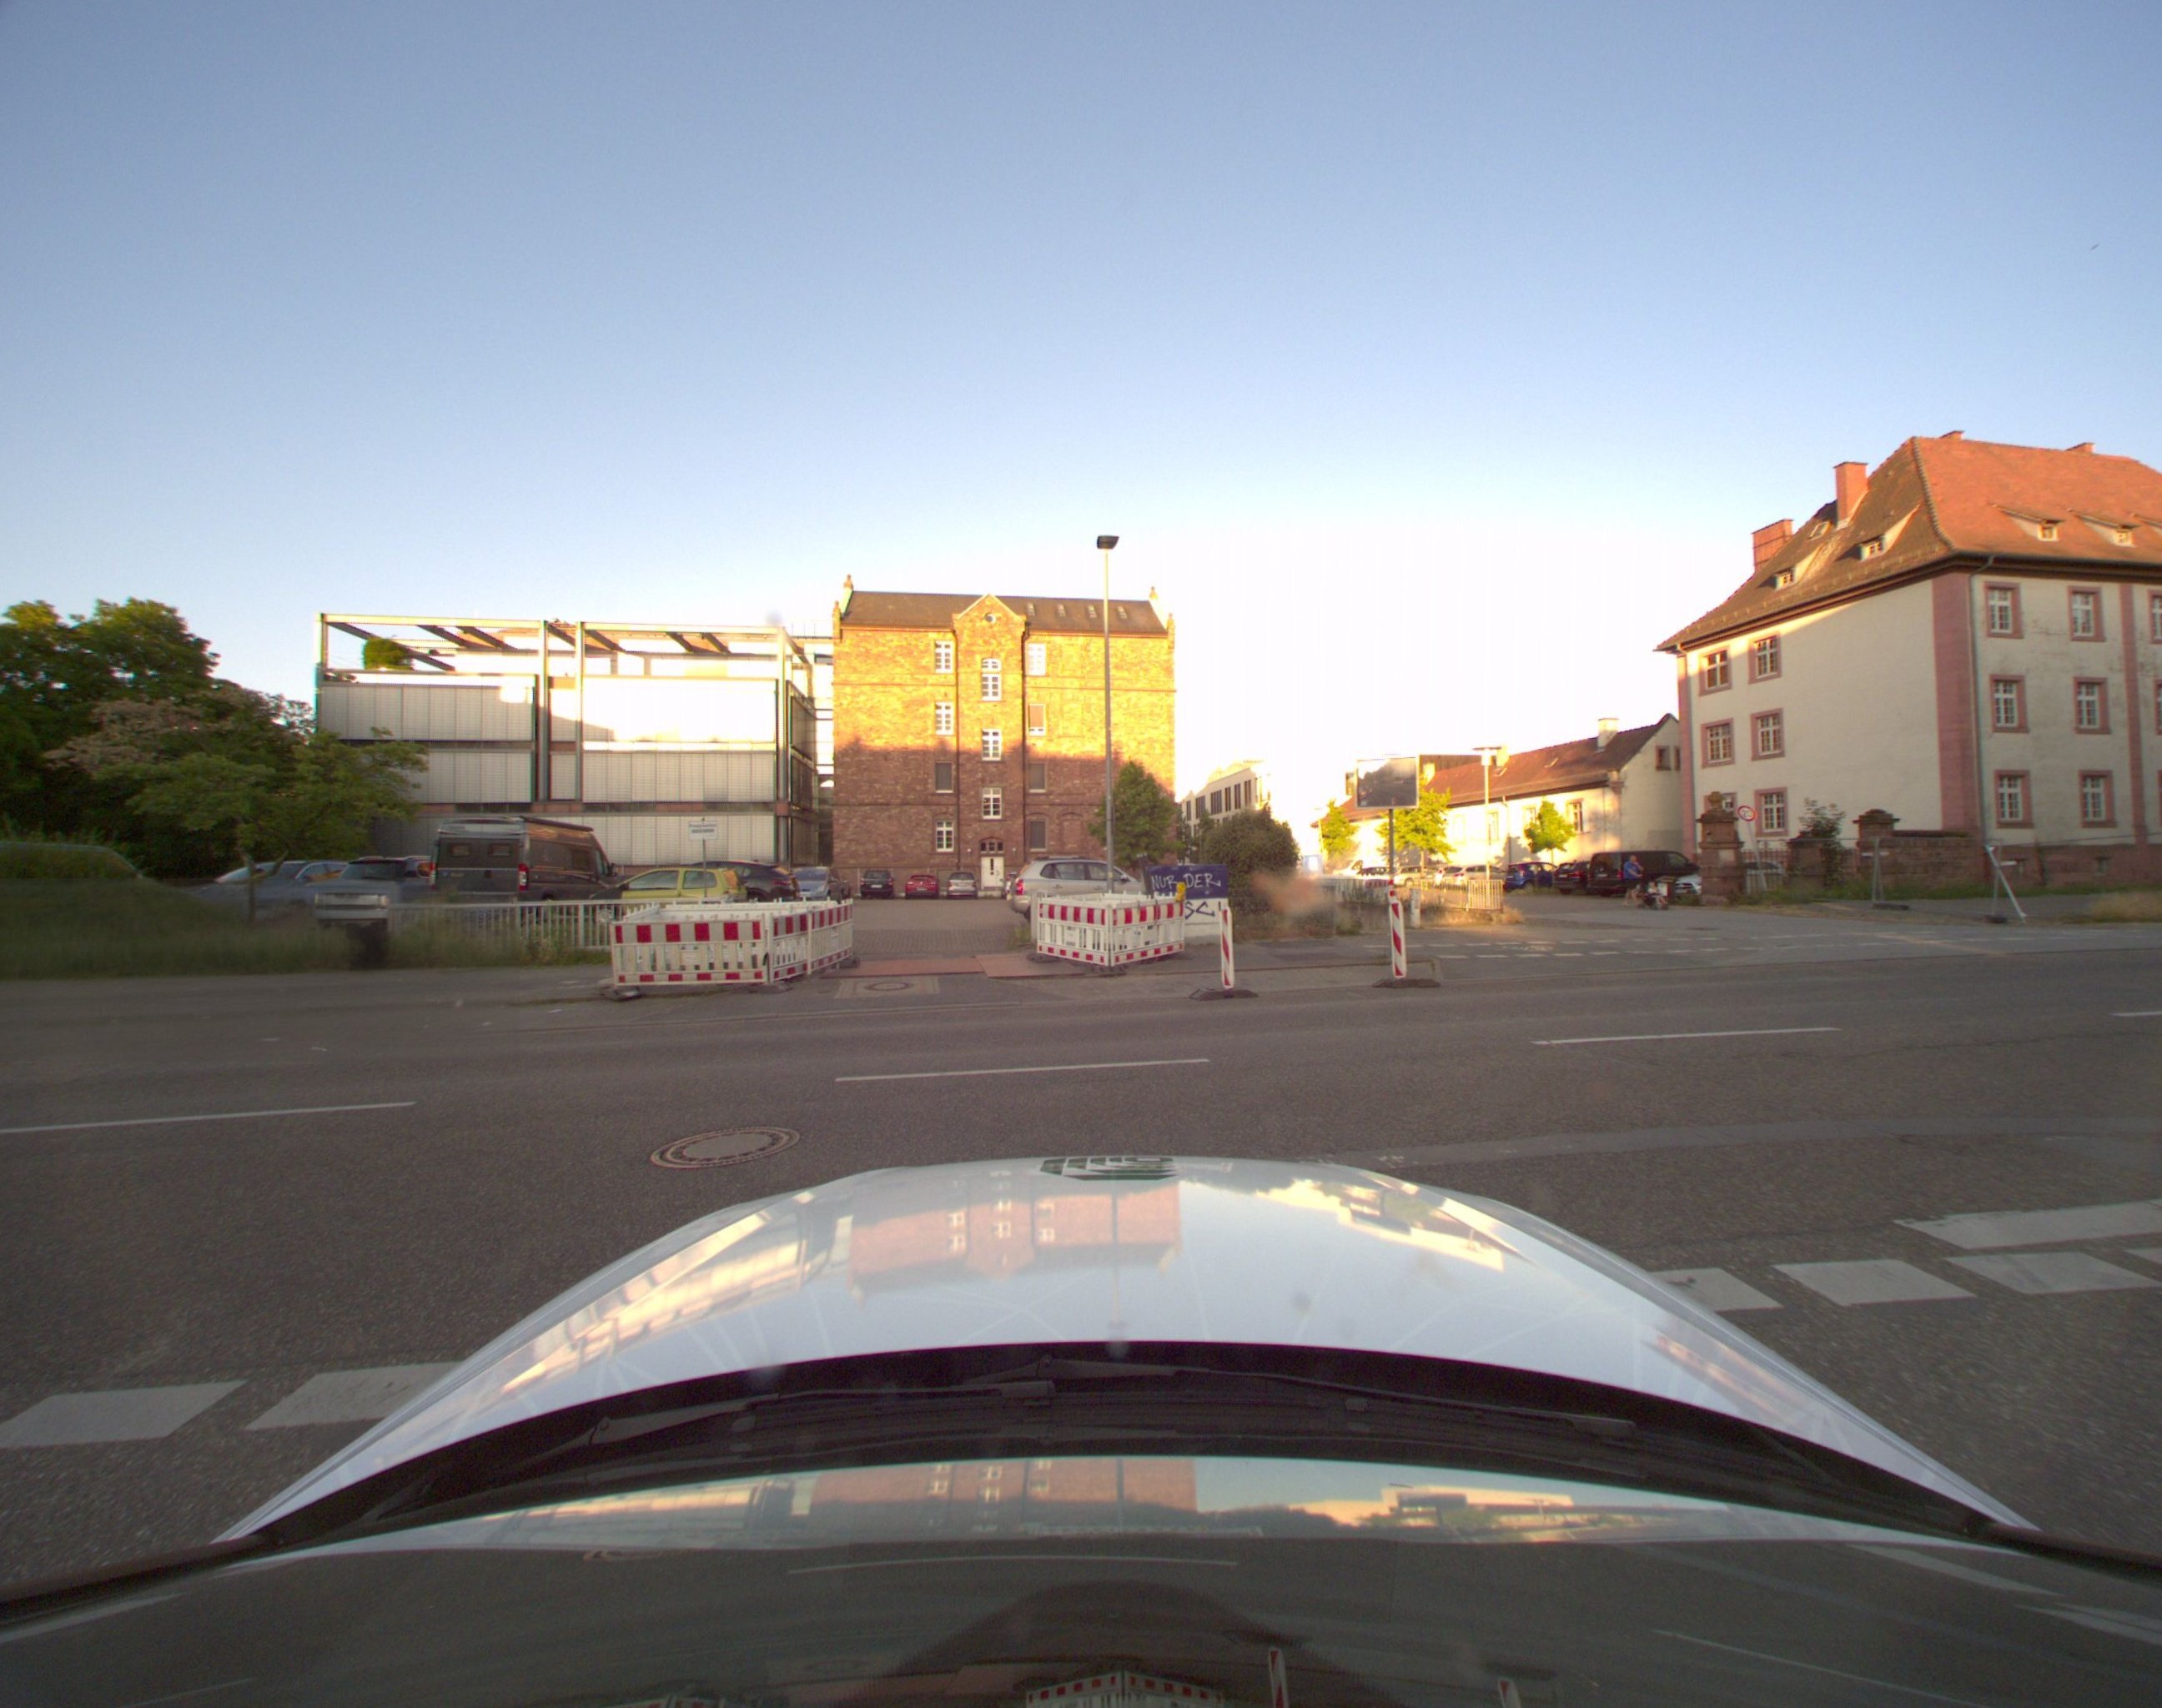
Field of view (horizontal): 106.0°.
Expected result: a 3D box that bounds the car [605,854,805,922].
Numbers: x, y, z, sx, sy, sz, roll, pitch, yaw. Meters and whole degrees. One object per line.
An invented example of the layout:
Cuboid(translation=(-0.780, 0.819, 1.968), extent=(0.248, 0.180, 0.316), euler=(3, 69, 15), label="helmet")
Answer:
Cuboid(translation=(-9.932, 0.885, 21.797), extent=(4.579, 1.638, 1.571), euler=(-1, -1, -7), label="car")

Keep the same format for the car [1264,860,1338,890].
Cuboid(translation=(12.508, 1.207, 46.394), extent=(3.743, 1.603, 1.680), euler=(-1, -1, -12), label="car")

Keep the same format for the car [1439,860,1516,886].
Cuboid(translation=(22.726, 1.096, 46.759), extent=(3.743, 1.445, 1.680), euler=(0, -2, -12), label="car")

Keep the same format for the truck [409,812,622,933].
Cuboid(translation=(-13.821, 0.439, 20.395), extent=(2.332, 2.617, 4.959), euler=(-1, -1, -8), label="truck")

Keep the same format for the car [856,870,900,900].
Cuboid(translation=(-11.228, 1.673, 45.252), extent=(1.895, 1.537, 4.167), euler=(-1, -1, -8), label="car")

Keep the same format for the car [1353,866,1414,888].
Cuboid(translation=(21.265, 1.626, 57.322), extent=(3.743, 1.445, 1.680), euler=(0, -2, -12), label="car")

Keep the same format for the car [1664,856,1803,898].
Cuboid(translation=(24.296, 0.857, 30.381), extent=(3.990, 1.459, 1.991), euler=(0, -2, -12), label="car")

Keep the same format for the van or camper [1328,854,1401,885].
Cuboid(translation=(21.043, 1.152, 60.506), extent=(4.966, 2.241, 1.679), euler=(0, -2, -12), label="van or camper")

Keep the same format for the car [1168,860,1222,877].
Cuboid(translation=(9.198, 1.171, 65.963), extent=(3.987, 1.313, 1.871), euler=(-1, -1, -10), label="car")

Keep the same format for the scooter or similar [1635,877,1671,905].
Cuboid(translation=(18.060, 1.163, 25.729), extent=(0.513, 0.890, 0.804), euler=(-1, -2, -8), label="scooter or similar")

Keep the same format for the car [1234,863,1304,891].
Cuboid(translation=(11.291, 1.391, 49.096), extent=(3.743, 1.603, 1.680), euler=(0, -2, -12), label="car")

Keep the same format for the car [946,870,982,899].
Cuboid(translation=(-6.548, 1.658, 45.582), extent=(1.895, 1.537, 4.167), euler=(-1, -1, -8), label="car")

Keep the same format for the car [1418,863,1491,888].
Cuboid(translation=(22.647, 1.309, 49.378), extent=(3.743, 1.445, 1.680), euler=(0, -2, -12), label="car")

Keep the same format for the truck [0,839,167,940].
Cuboid(translation=(-23.608, 0.784, 17.900), extent=(2.102, 2.091, 4.504), euler=(-1, -1, -5), label="truck")

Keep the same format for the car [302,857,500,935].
Cuboid(translation=(-16.492, 0.972, 20.067), extent=(1.994, 1.692, 3.985), euler=(-1, -1, -10), label="car")

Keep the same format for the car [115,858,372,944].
Cuboid(translation=(-19.025, 0.999, 18.854), extent=(1.994, 1.727, 4.285), euler=(-1, -1, -10), label="car")

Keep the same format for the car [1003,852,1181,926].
Cuboid(translation=(0.235, 0.850, 20.679), extent=(4.269, 1.709, 1.697), euler=(-1, -1, -10), label="car")

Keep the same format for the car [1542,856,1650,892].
Cuboid(translation=(23.926, 0.914, 37.907), extent=(3.990, 1.573, 1.991), euler=(0, -2, -12), label="car")

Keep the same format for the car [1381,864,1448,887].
Cuboid(translation=(21.694, 1.413, 53.000), extent=(3.743, 1.445, 1.680), euler=(0, -2, -12), label="car")

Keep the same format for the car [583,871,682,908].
Cuboid(translation=(-17.326, 1.325, 31.713), extent=(1.938, 1.306, 4.352), euler=(-1, -1, -8), label="car")

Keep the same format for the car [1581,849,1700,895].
Cuboid(translation=(24.029, 0.760, 35.049), extent=(3.990, 1.859, 1.991), euler=(0, -2, -12), label="car")

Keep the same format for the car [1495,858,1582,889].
Cuboid(translation=(23.641, 1.022, 42.116), extent=(3.743, 1.529, 1.680), euler=(0, -2, -12), label="car")

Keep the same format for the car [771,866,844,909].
Cuboid(translation=(-10.966, 1.314, 32.948), extent=(1.992, 1.576, 4.352), euler=(-1, -1, -8), label="car")

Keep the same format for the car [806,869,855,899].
Cuboid(translation=(-13.692, 1.630, 44.692), extent=(1.895, 1.537, 4.167), euler=(-1, -1, -8), label="car")

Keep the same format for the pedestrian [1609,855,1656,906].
Cuboid(translation=(18.063, 0.860, 26.675), extent=(0.749, 1.642, 1.012), euler=(-1, -2, -8), label="pedestrian")

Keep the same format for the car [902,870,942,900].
Cuboid(translation=(-8.778, 1.663, 45.178), extent=(1.895, 1.537, 4.167), euler=(-1, -1, -8), label="car")

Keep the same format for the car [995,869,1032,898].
Cuboid(translation=(-3.859, 1.632, 46.030), extent=(1.895, 1.537, 4.167), euler=(-1, -1, -8), label="car")

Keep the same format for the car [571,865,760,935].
Cuboid(translation=(-9.760, 1.051, 19.346), extent=(3.628, 1.504, 1.633), euler=(-1, -1, -7), label="car")
